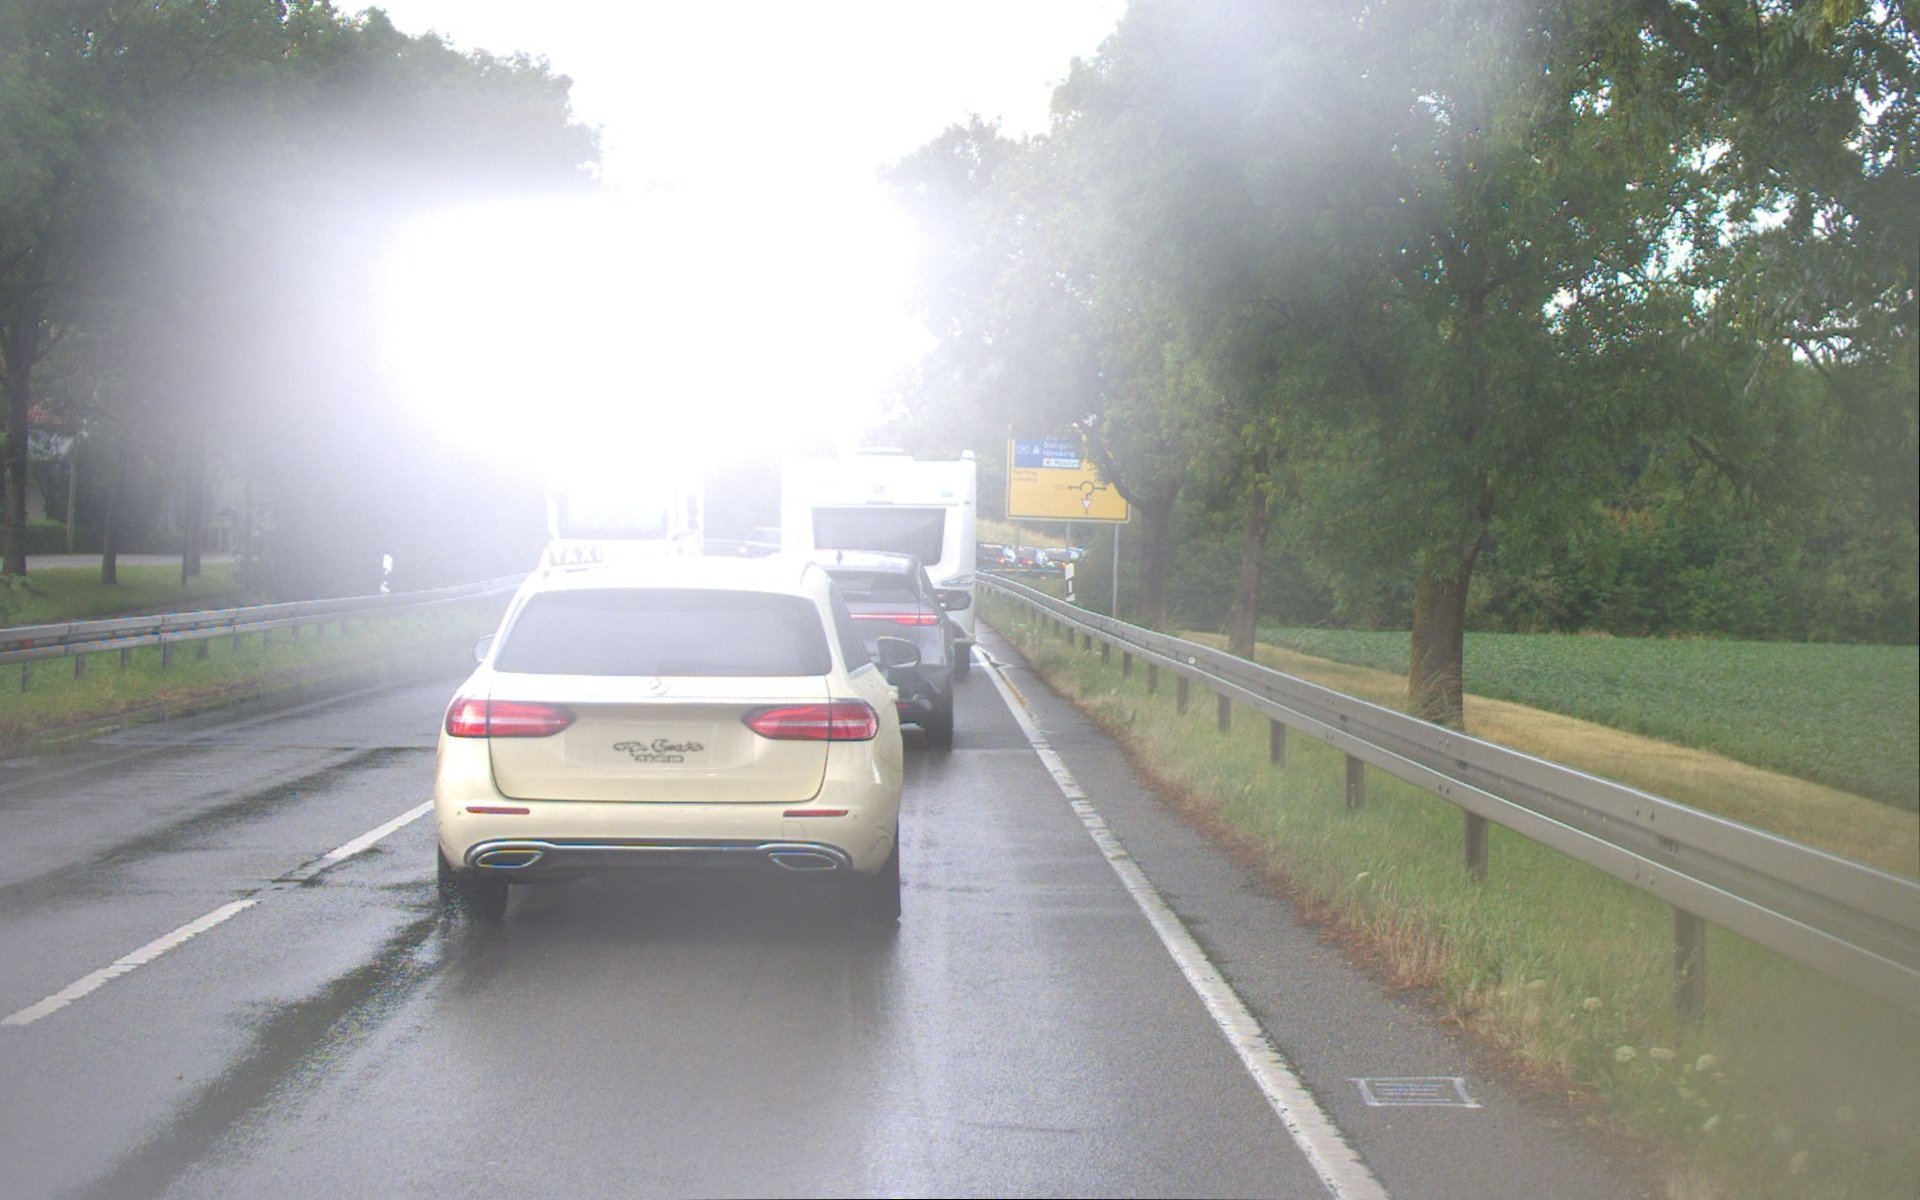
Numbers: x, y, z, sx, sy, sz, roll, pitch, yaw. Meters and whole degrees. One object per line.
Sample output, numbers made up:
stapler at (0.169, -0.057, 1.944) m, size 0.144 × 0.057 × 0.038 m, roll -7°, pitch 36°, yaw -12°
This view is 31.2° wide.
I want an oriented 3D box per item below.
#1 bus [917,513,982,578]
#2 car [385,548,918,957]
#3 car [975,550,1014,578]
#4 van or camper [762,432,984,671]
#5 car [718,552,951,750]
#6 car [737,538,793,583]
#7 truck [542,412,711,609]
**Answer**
bus at (-0.340, -1.726, 108.609) m, size 1.993 × 2.007 × 4.000 m, roll 0°, pitch 1°, yaw -1°
car at (-1.149, 0.526, 14.524) m, size 1.865 × 1.471 × 4.000 m, roll 0°, pitch 1°, yaw 0°
car at (1.419, -1.469, 141.381) m, size 1.551 × 1.114 × 4.000 m, roll 1°, pitch 0°, yaw 0°
van or camper at (-0.973, -0.602, 42.075) m, size 2.489 × 2.676 × 5.700 m, roll 1°, pitch 1°, yaw 0°
car at (-0.929, 0.346, 27.222) m, size 1.664 × 1.426 × 4.000 m, roll 0°, pitch 1°, yaw 0°
car at (-6.496, -1.322, 114.728) m, size 1.714 × 1.446 × 4.111 m, roll 1°, pitch 1°, yaw -1°
truck at (-6.188, -1.665, 64.945) m, size 2.576 × 3.440 × 9.557 m, roll 0°, pitch 1°, yaw -2°
